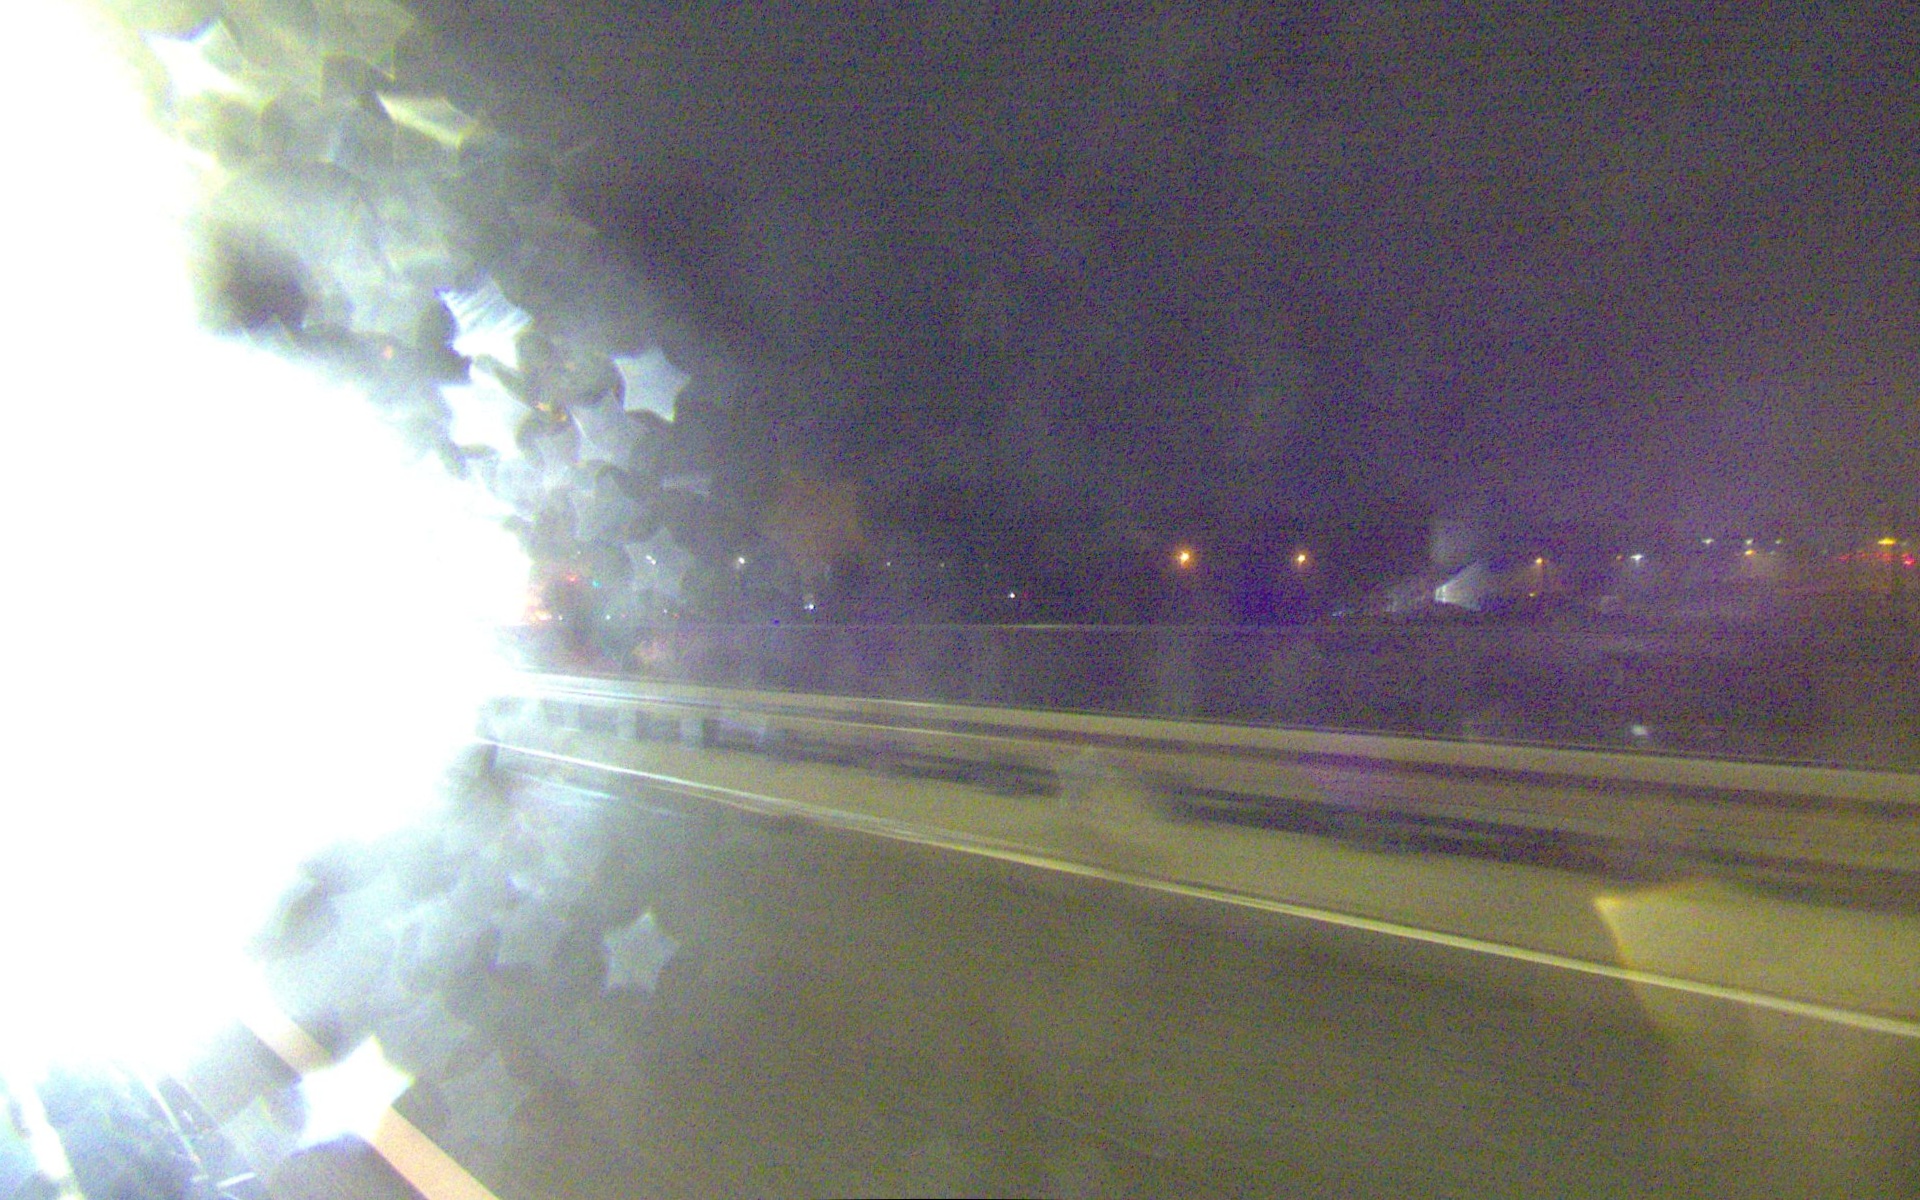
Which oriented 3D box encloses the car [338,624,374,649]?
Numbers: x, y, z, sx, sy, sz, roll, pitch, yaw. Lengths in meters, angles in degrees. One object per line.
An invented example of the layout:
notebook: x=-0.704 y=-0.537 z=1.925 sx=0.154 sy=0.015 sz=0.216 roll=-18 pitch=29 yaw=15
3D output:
car: x=-54.123 y=3.289 z=90.757 sx=1.629 sy=2.027 sz=4.012 roll=-8 pitch=0 yaw=-18

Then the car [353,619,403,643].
car: x=-43.615 y=2.314 z=75.904 sx=1.995 sy=1.732 sz=4.995 roll=0 pitch=-1 yaw=-14

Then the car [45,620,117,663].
car: x=-32.950 y=1.543 z=38.008 sx=1.498 sy=1.537 sz=3.116 roll=0 pitch=-2 yaw=-31

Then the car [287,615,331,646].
car: x=-49.854 y=2.352 z=77.612 sx=1.629 sy=2.027 sz=4.012 roll=-8 pitch=0 yaw=-18

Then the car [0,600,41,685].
car: x=-24.700 y=1.010 z=25.530 sx=1.968 sy=2.029 sz=4.008 roll=0 pitch=0 yaw=-38

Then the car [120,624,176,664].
car: x=-38.516 y=2.063 z=48.043 sx=1.284 sy=1.540 sz=3.056 roll=-7 pitch=5 yaw=-26

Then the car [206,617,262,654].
car: x=-45.187 y=2.235 z=63.078 sx=1.628 sy=2.027 sz=4.012 roll=-8 pitch=0 yaw=-20
